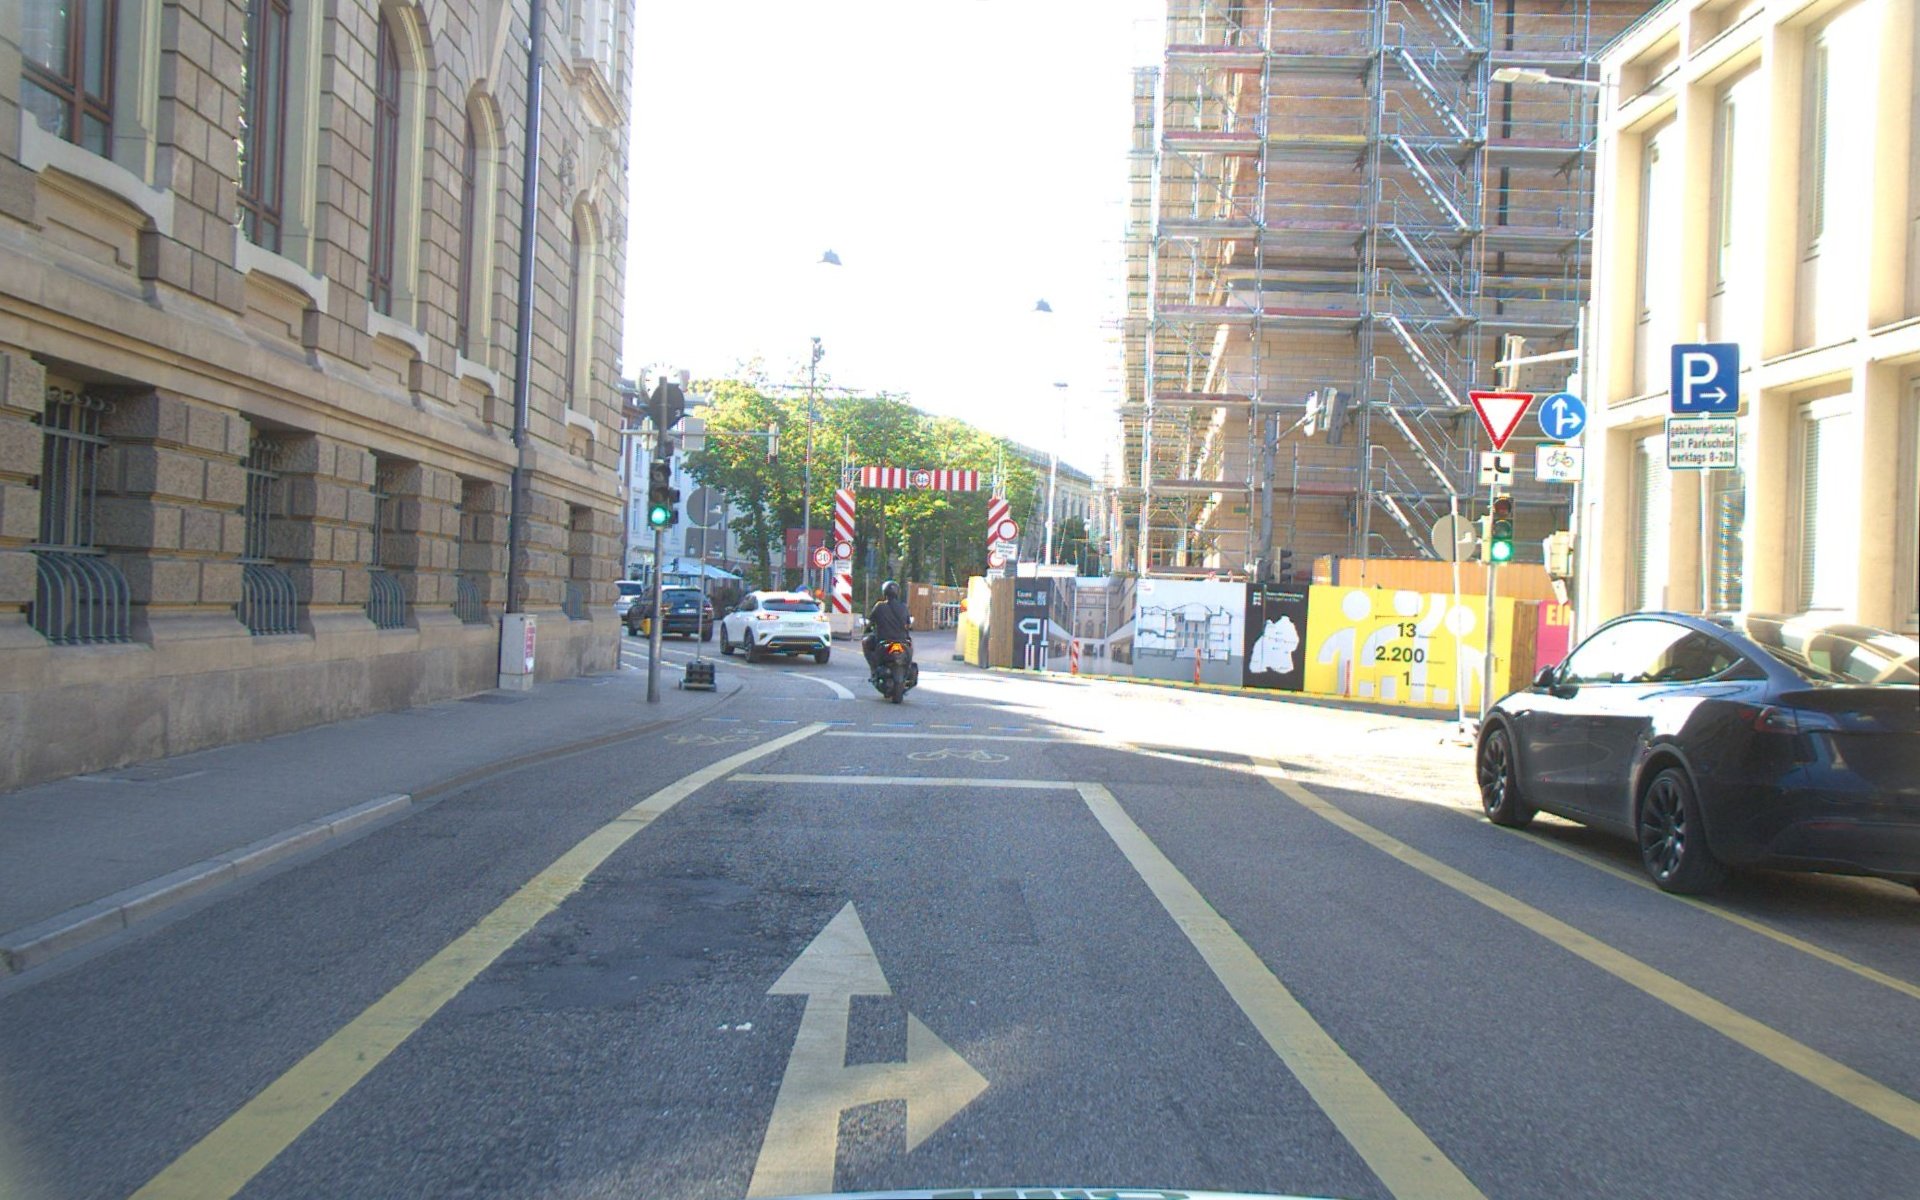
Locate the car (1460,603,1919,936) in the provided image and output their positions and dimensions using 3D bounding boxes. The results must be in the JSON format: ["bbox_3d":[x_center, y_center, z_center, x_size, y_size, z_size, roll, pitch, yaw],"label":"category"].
[{"bbox_3d":[4.947,0.892,10.788,1.855,1.652,4.620,3,0,-1],"label":"car"}]

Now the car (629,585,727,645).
[{"bbox_3d":[-7.847,0.393,45.699,1.815,1.489,4.030,3,0,-22],"label":"car"}]

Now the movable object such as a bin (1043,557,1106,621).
[{"bbox_3d":[8.653,-0.763,124.215,3.237,4.619,7.910,1,0,15],"label":"movable object such as a bin"}]

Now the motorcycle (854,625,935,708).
[{"bbox_3d":[-0.965,0.944,23.833,0.783,1.085,1.719,3,0,-14],"label":"motorcycle"}]

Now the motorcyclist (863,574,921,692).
[{"bbox_3d":[-0.994,0.473,24.120,0.646,1.679,0.648,3,0,-16],"label":"motorcyclist"}]

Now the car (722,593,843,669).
[{"bbox_3d":[-4.012,0.658,36.927,1.822,1.506,4.036,3,0,-18],"label":"car"}]

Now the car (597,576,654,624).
[{"bbox_3d":[-13.007,0.000,64.483,1.805,1.743,4.051,3,0,-7],"label":"car"}]
